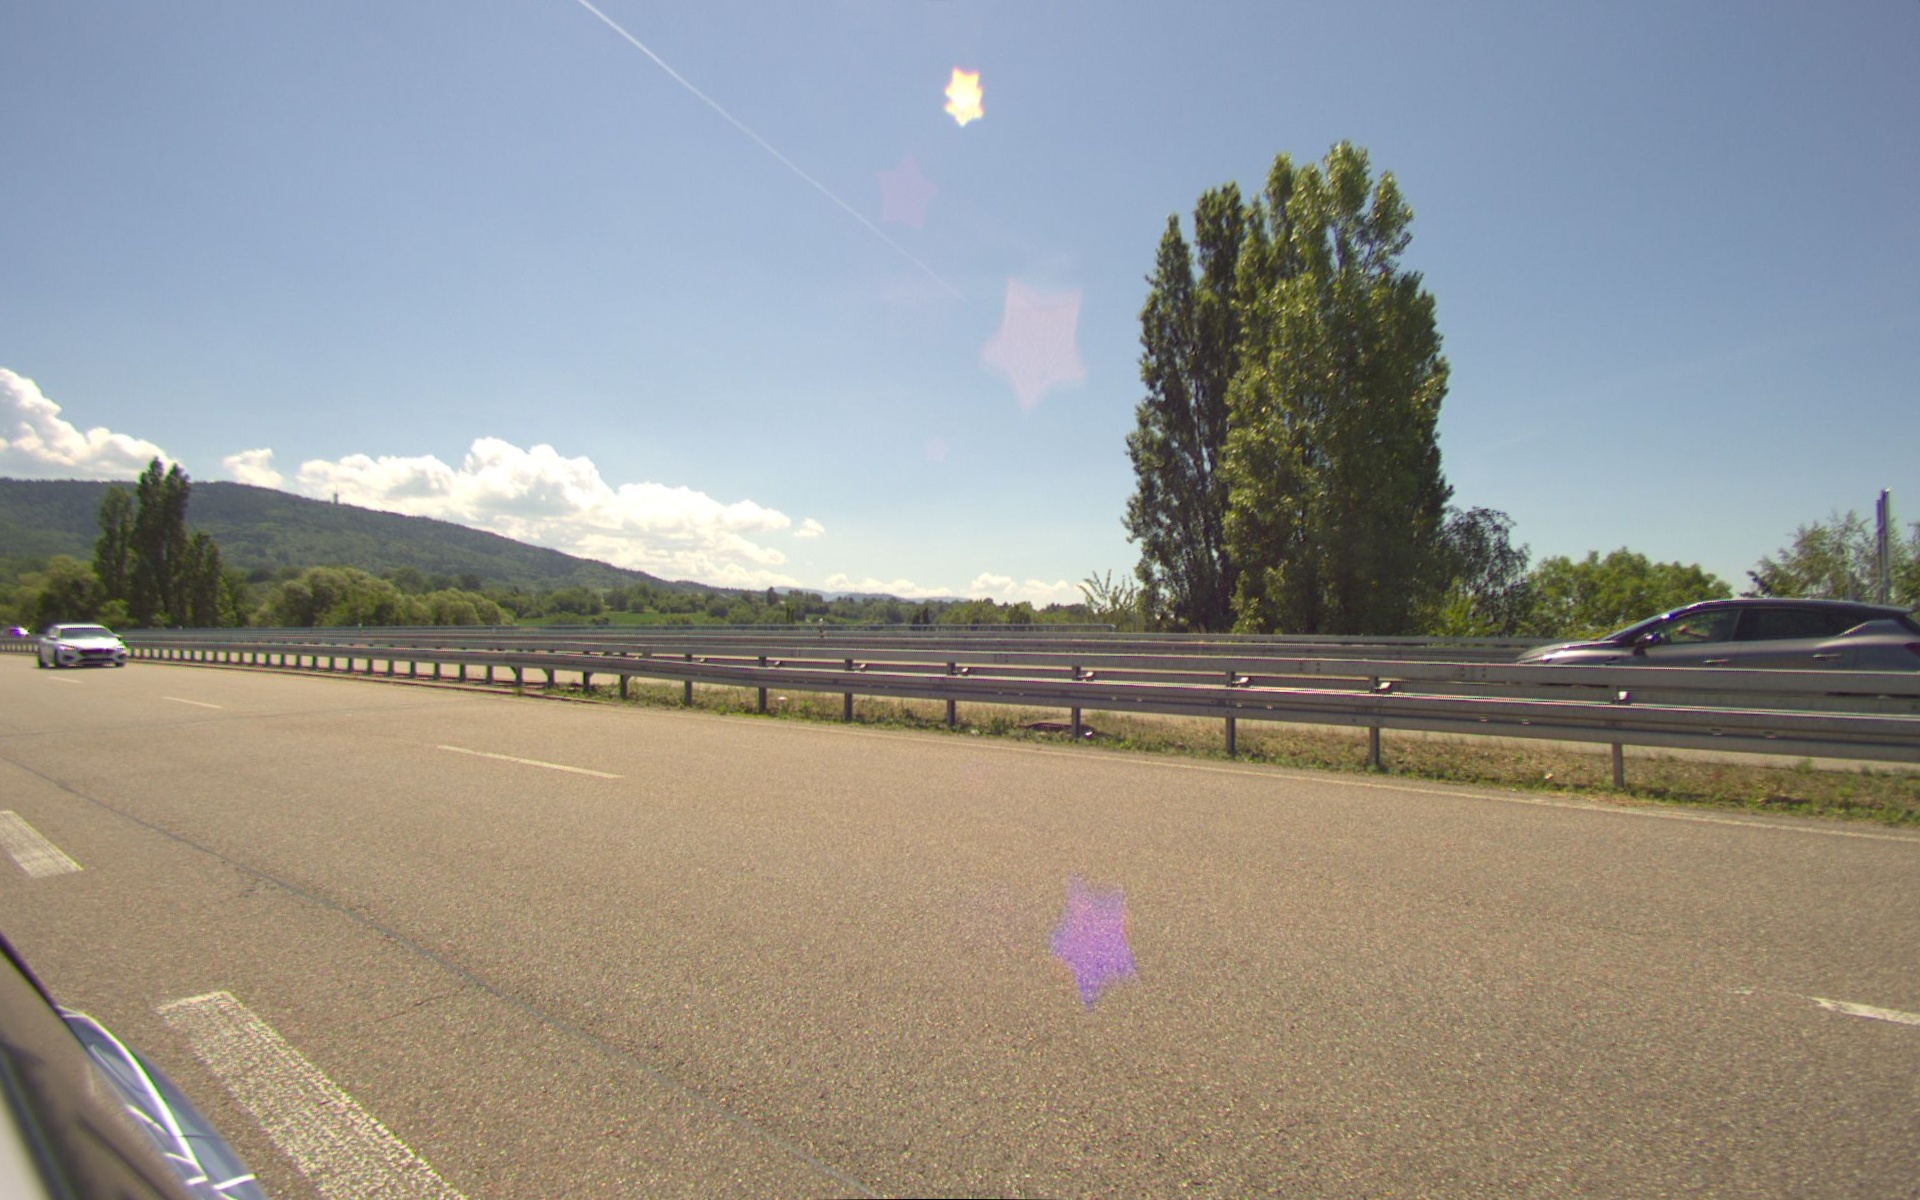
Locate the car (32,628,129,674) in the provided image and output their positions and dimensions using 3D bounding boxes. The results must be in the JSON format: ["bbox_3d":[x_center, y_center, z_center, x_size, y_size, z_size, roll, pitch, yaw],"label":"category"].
[{"bbox_3d":[-29.922,1.676,34.385,4.466,1.418,1.822,-1,-1,40],"label":"car"}]

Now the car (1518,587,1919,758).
[{"bbox_3d":[8.856,0.739,11.429,4.187,1.660,1.806,-1,-2,41],"label":"car"}]

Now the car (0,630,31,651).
[{"bbox_3d":[-78.551,3.343,83.622,5.044,1.680,1.826,-1,-2,38],"label":"car"}]
